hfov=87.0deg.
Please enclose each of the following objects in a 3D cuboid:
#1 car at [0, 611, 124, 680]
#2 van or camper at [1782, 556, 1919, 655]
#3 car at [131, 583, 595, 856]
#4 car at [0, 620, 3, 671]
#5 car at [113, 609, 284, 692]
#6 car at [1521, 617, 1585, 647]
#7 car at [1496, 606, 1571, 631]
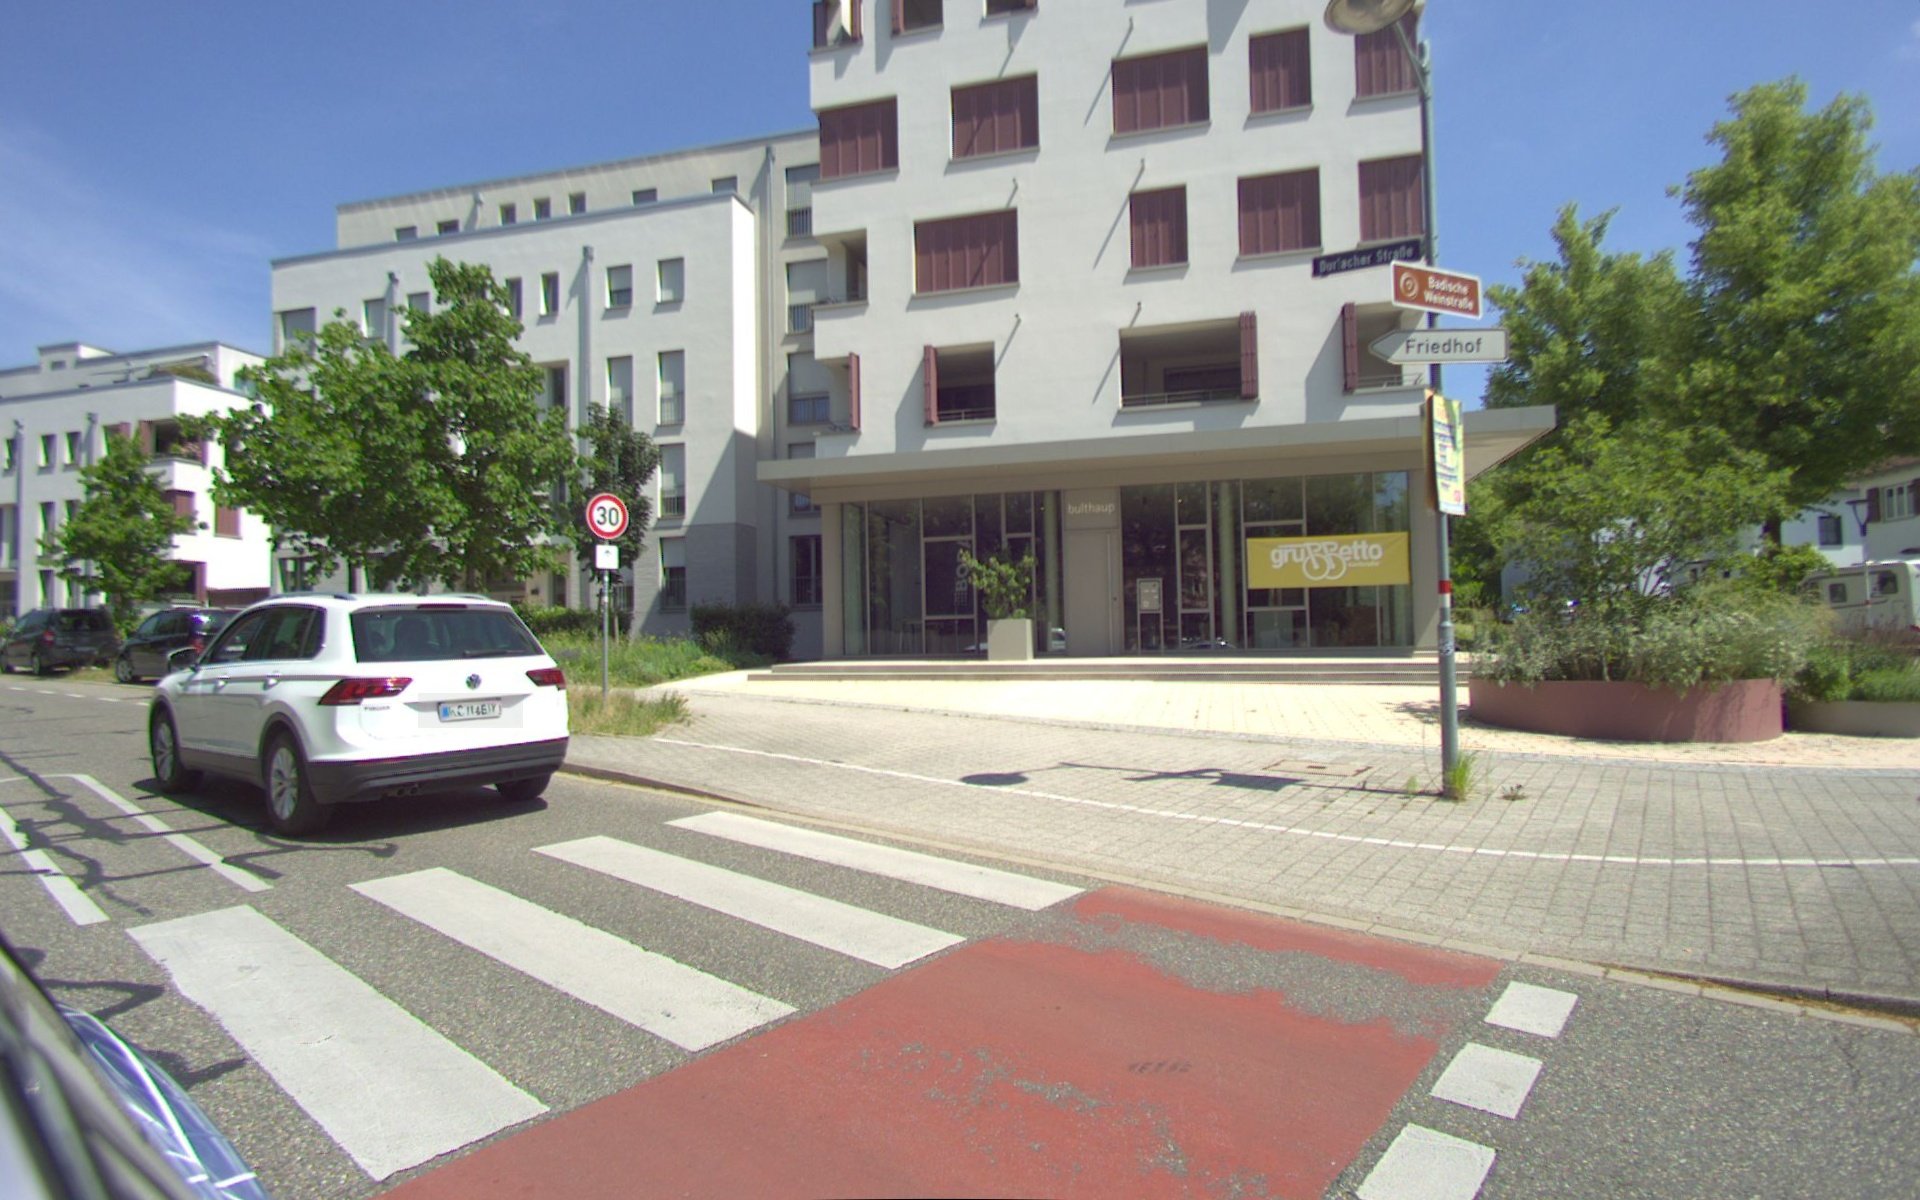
[{"bbox_3d":[-23.845,1.166,26.744,3.616,1.713,1.681,-1,-1,33],"label":"car"},{"bbox_3d":[27.456,0.114,29.871,2.251,2.658,5.864,-4,-2,11],"label":"van or camper"},{"bbox_3d":[-4.846,0.752,8.004,4.114,1.621,1.793,-1,-1,38],"label":"car"},{"bbox_3d":[-31.991,1.434,31.788,3.610,1.602,1.774,-1,-1,28],"label":"car"},{"bbox_3d":[-16.524,1.036,21.927,4.008,1.650,1.681,-1,-1,33],"label":"car"},{"bbox_3d":[31.750,1.691,54.275,1.738,1.516,3.976,-1,-1,12],"label":"car"},{"bbox_3d":[39.520,1.272,69.800,4.069,1.621,1.813,-1,-1,6],"label":"car"}]
